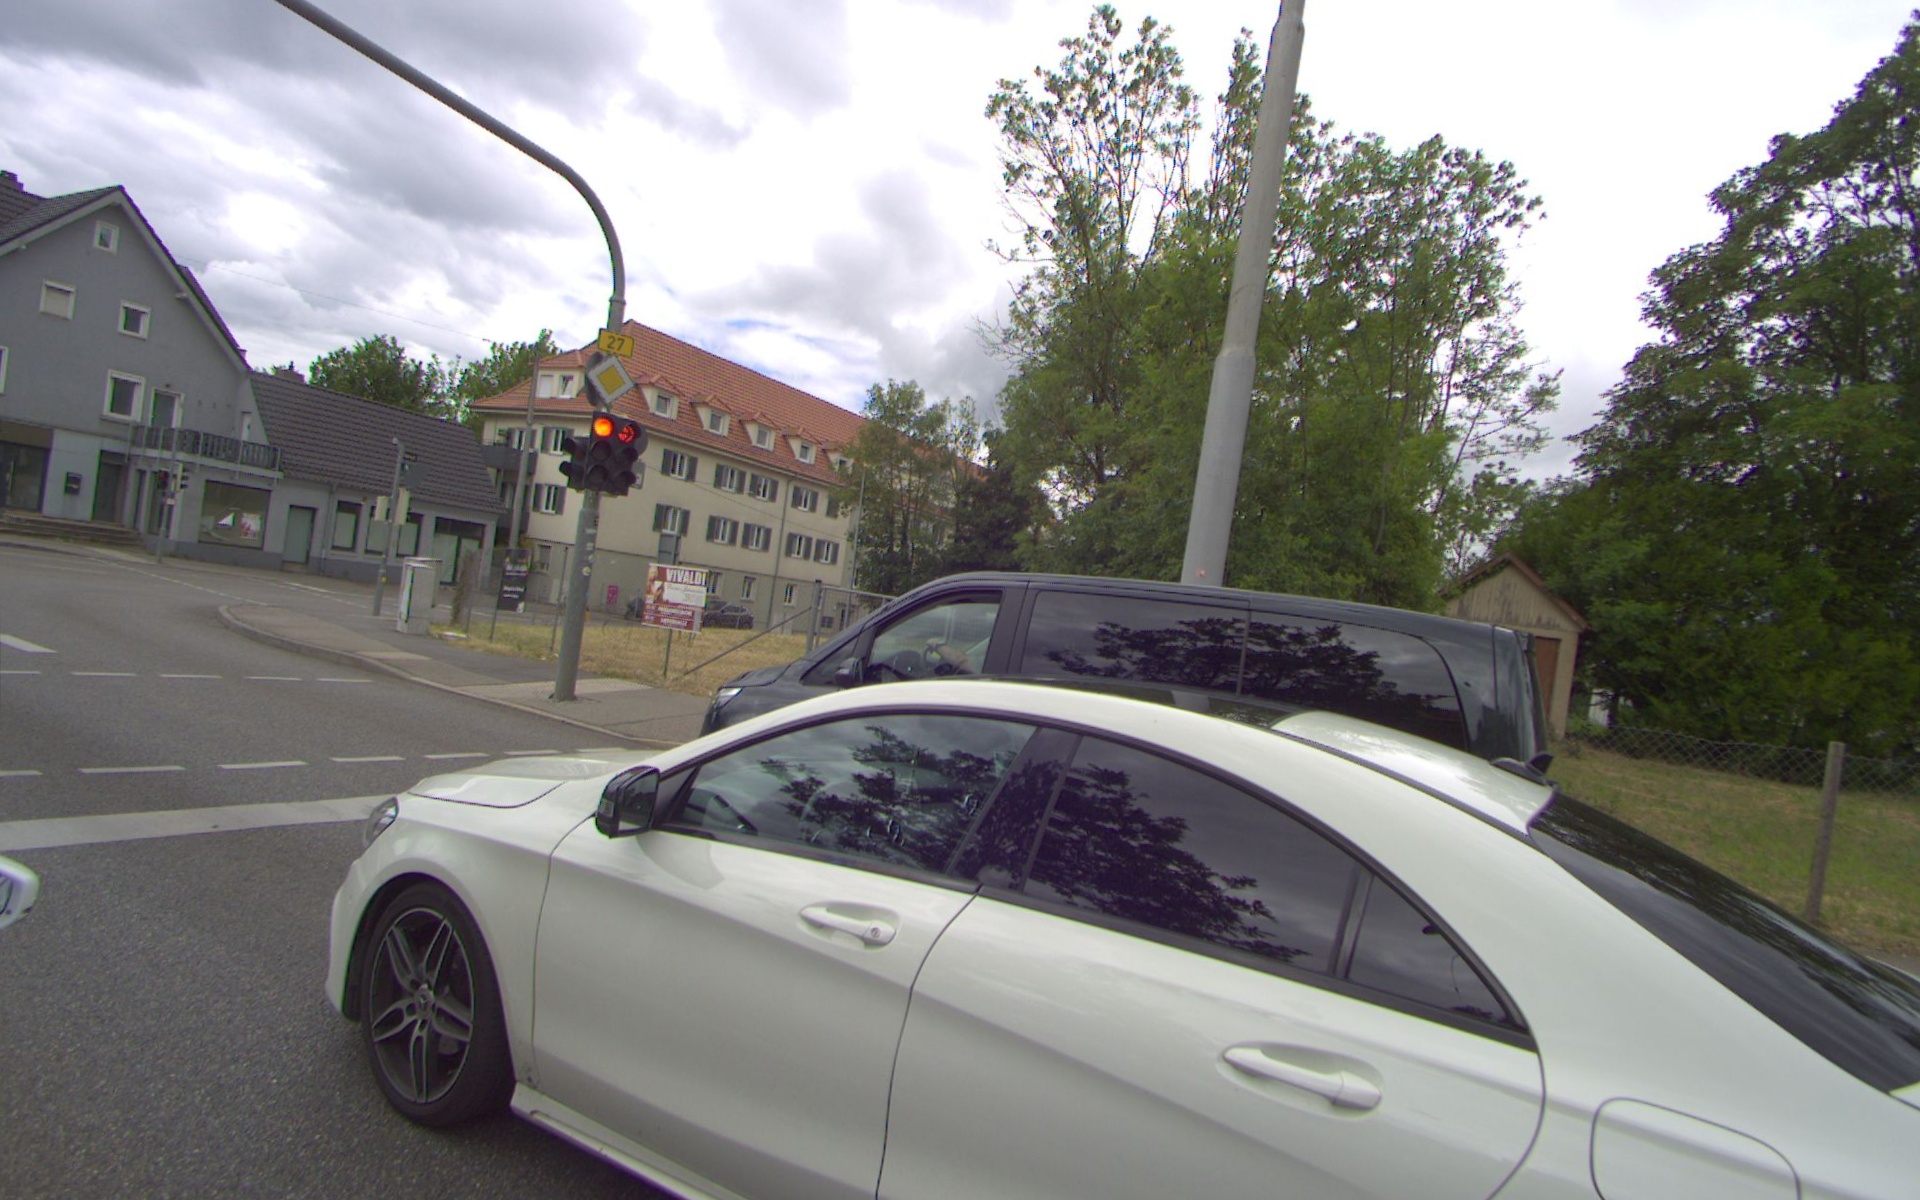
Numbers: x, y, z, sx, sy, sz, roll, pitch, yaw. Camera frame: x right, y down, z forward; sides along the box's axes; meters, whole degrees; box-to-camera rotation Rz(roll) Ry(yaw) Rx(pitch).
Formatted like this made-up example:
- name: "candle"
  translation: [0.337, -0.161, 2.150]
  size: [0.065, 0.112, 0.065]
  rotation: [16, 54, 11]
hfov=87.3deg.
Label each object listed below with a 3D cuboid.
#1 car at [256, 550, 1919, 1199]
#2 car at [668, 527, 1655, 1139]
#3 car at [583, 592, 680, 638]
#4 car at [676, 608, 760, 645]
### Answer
- name: "car"
  translation: [0.160, 0.845, 2.645]
  size: [4.305, 1.451, 1.651]
  rotation: [7, 0, 32]
- name: "car"
  translation: [0.850, 0.829, 5.565]
  size: [4.631, 1.860, 1.953]
  rotation: [7, -2, 32]
- name: "car"
  translation: [-15.520, 0.740, 47.664]
  size: [1.839, 1.554, 3.996]
  rotation: [7, -2, 32]
- name: "car"
  translation: [-12.626, 1.402, 52.653]
  size: [1.839, 1.393, 3.996]
  rotation: [7, -2, 32]
